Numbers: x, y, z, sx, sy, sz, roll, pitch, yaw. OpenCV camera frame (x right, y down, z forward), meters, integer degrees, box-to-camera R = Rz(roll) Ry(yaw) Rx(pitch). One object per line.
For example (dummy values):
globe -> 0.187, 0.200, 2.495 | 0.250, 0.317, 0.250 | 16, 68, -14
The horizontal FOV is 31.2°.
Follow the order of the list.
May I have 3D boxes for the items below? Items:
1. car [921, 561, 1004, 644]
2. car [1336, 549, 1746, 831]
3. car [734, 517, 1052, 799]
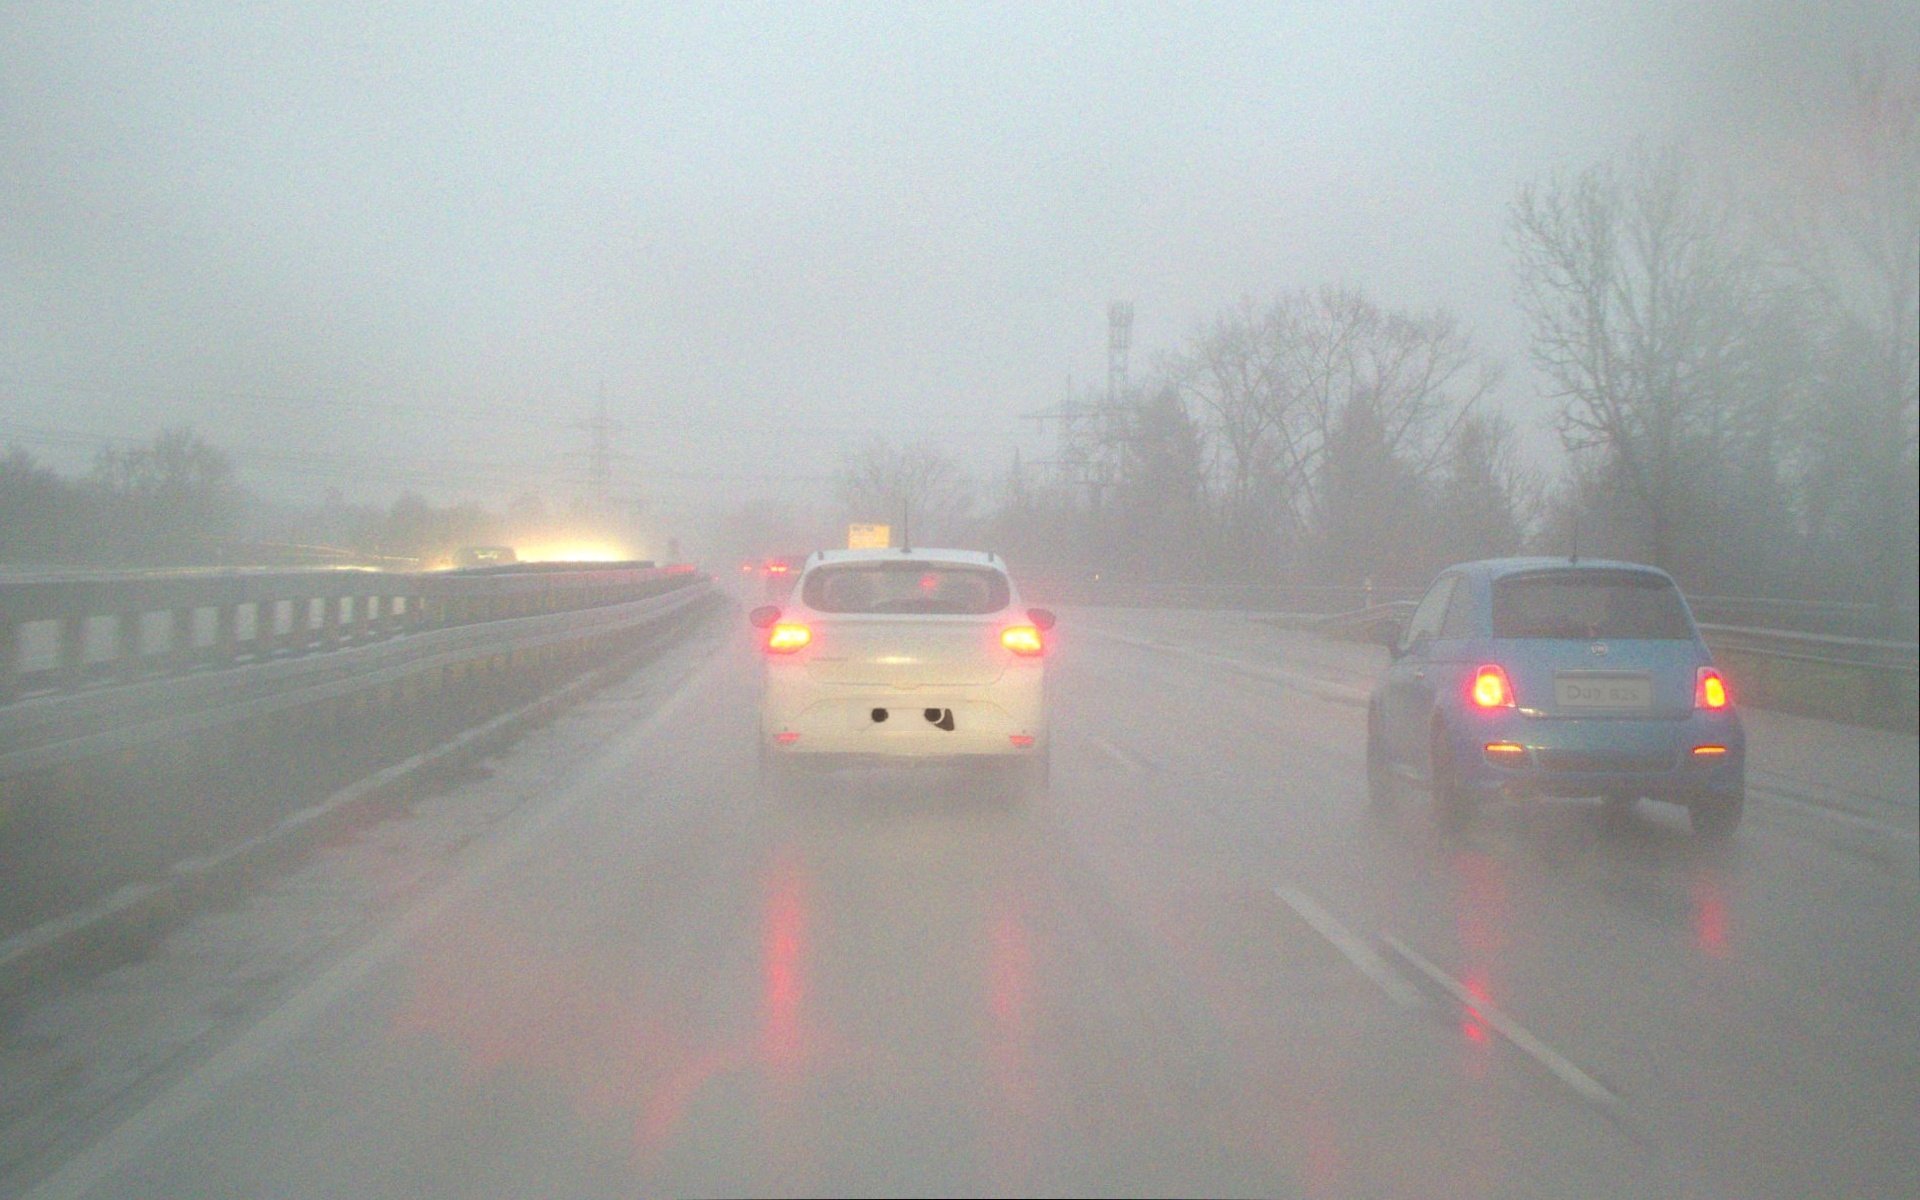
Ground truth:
car -> 0.092, 0.075, 88.404 | 1.874, 1.897, 4.000 | 6, 0, 1
car -> 3.325, 0.446, 20.416 | 1.845, 1.448, 4.148 | 1, 1, 2
car -> -0.405, 0.301, 22.044 | 1.845, 1.630, 3.768 | 1, 1, 0
